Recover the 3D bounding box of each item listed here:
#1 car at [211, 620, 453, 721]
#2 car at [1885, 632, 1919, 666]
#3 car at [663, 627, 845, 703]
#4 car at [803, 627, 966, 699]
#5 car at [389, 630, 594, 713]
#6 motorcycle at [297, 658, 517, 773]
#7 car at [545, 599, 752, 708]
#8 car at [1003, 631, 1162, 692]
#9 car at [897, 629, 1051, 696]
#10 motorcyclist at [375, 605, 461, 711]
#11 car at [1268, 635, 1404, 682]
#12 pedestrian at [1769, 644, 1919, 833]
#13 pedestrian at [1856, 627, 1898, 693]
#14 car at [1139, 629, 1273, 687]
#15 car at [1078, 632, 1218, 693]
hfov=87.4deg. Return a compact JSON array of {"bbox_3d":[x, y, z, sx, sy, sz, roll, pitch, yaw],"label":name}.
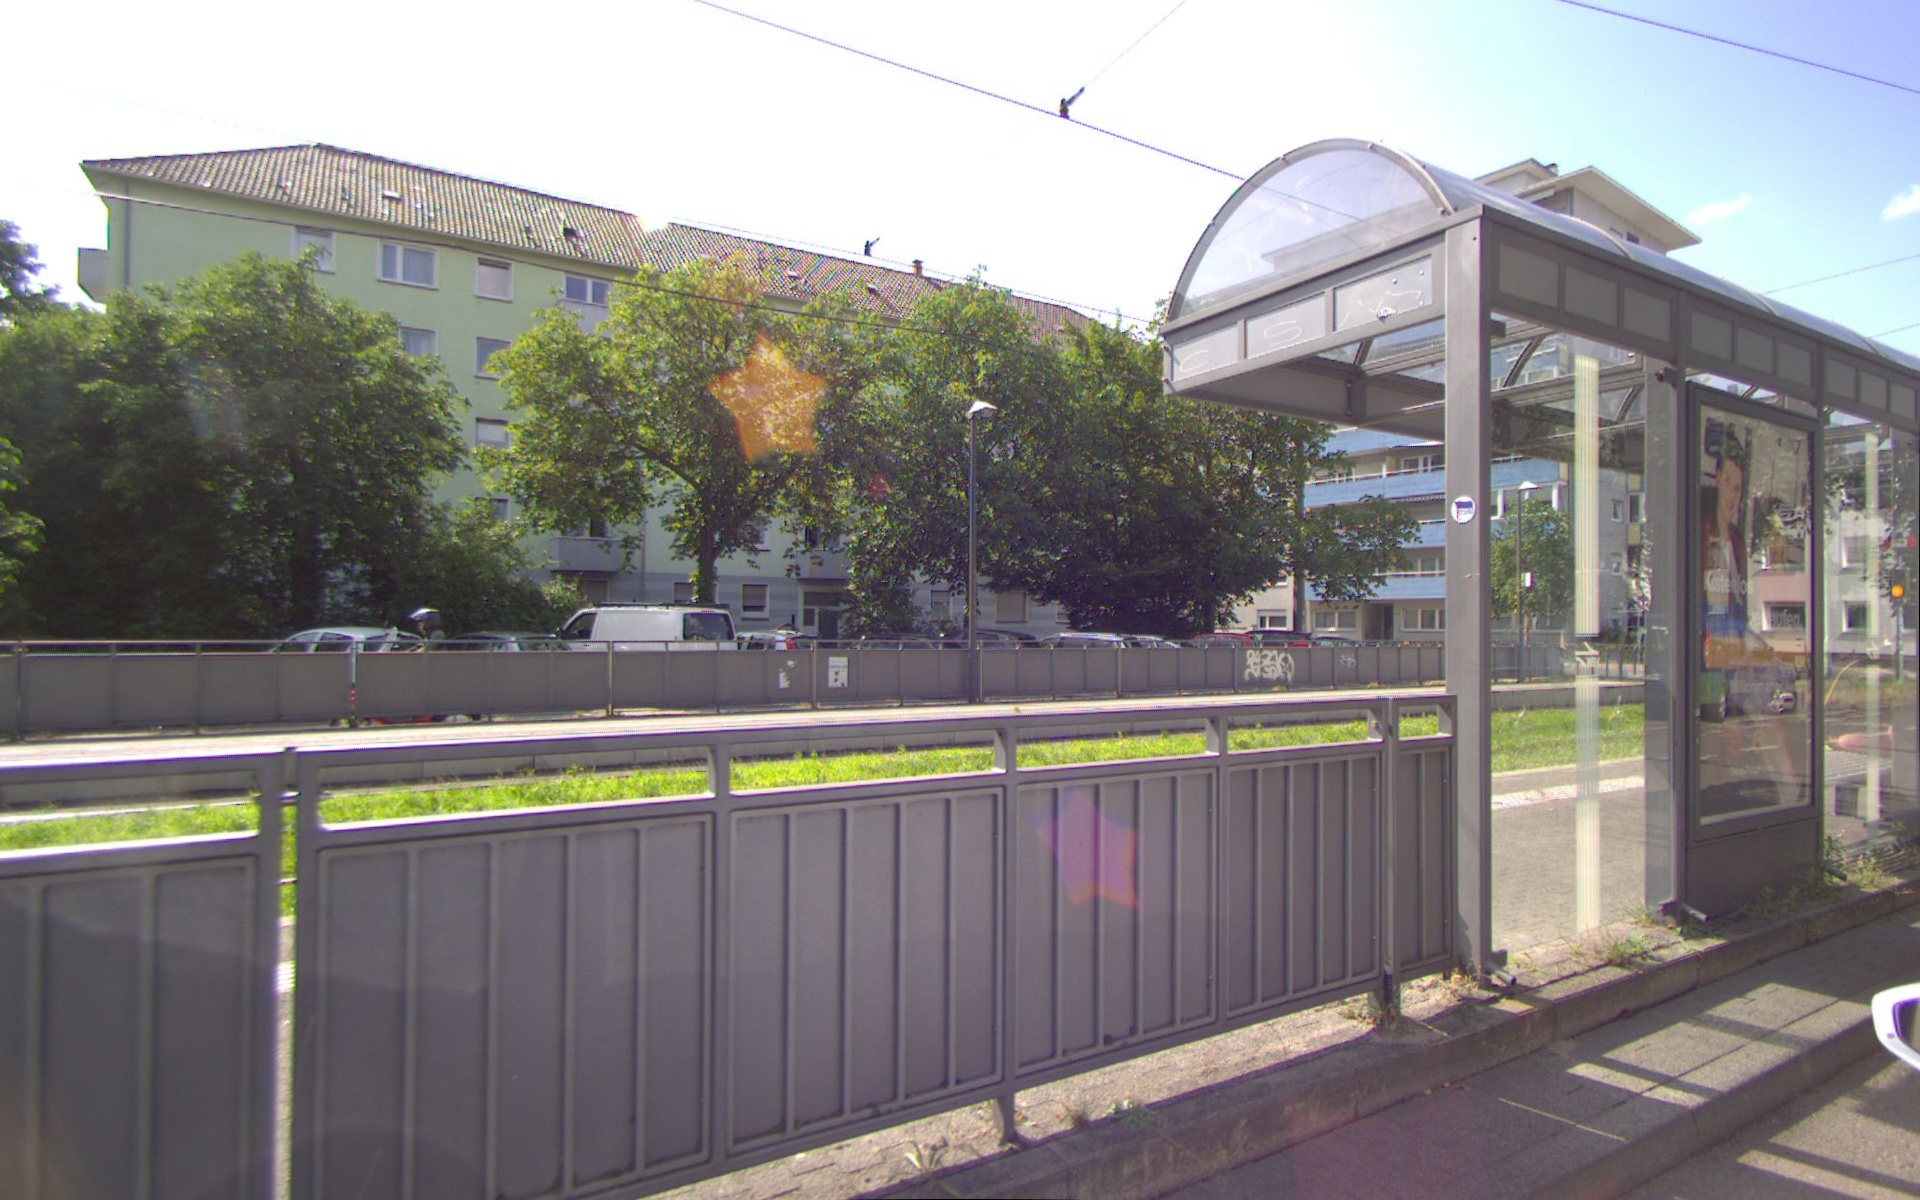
[{"bbox_3d":[-11.468,1.205,18.359,3.923,1.662,1.826,0,0,23],"label":"car"},{"bbox_3d":[50.531,2.583,52.796,3.960,1.667,1.980,2,0,-35],"label":"car"},{"bbox_3d":[-4.742,1.432,23.061,3.879,1.600,1.717,0,-1,28],"label":"car"},{"bbox_3d":[-1.832,1.465,24.180,3.600,1.600,1.646,0,-1,29],"label":"car"},{"bbox_3d":[-9.337,1.356,19.991,3.925,1.505,1.608,0,-1,26],"label":"car"},{"bbox_3d":[-7.362,1.488,13.481,2.488,1.357,1.010,1,-2,-31],"label":"motorcycle"},{"bbox_3d":[-6.575,1.066,21.179,3.880,2.097,2.047,0,-1,28],"label":"car"},{"bbox_3d":[3.268,1.607,27.060,3.956,1.534,1.607,-1,-2,30],"label":"car"},{"bbox_3d":[0.342,1.551,25.734,3.600,1.600,1.646,0,-1,29],"label":"car"},{"bbox_3d":[-7.320,0.763,13.559,0.975,1.357,0.934,1,-2,-30],"label":"motorcyclist"},{"bbox_3d":[12.214,1.872,32.788,4.053,1.412,1.609,0,-2,21],"label":"car"},{"bbox_3d":[5.614,0.823,6.193,0.709,1.086,0.664,-1,-1,4],"label":"pedestrian"},{"bbox_3d":[24.081,1.561,26.373,0.625,1.686,0.656,1,-2,-32],"label":"pedestrian"},{"bbox_3d":[7.347,1.691,30.044,3.600,1.600,1.646,0,-1,29],"label":"car"},{"bbox_3d":[5.340,1.727,28.614,3.600,1.600,1.646,0,-1,29],"label":"car"}]
